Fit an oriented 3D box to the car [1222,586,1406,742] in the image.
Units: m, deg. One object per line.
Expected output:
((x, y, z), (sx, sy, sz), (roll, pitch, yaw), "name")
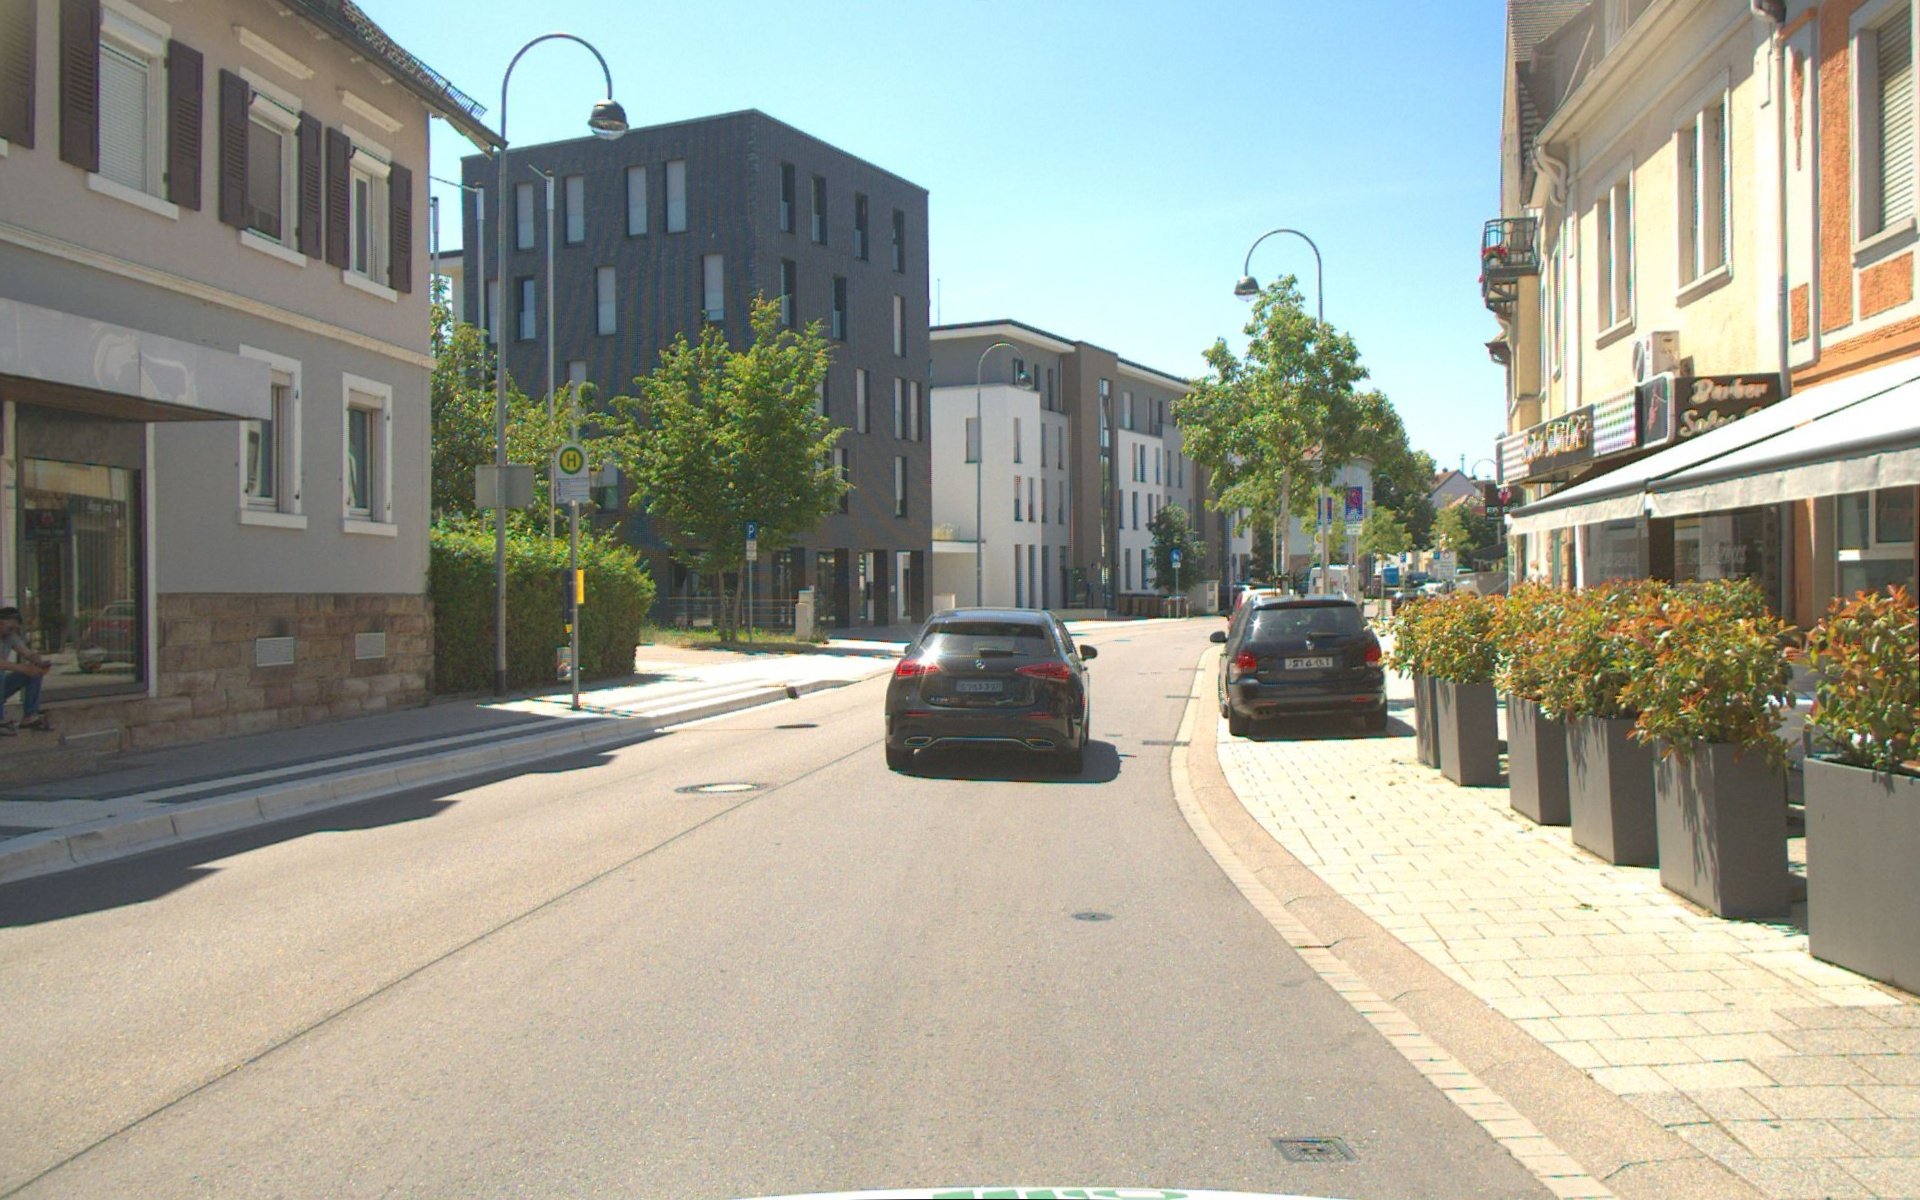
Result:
((3.926, 0.651, 18.868), (1.713, 1.512, 4.003), (-3, 0, 8), "car")

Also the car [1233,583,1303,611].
((19.274, -0.199, 103.559), (3.910, 1.691, 1.997), (0, 0, 28), "car")

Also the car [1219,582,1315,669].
((5.941, 0.461, 32.296), (1.571, 1.557, 3.494), (-2, 0, 7), "car")

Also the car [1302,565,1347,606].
((18.927, -0.760, 85.831), (1.951, 2.049, 4.002), (0, 0, 17), "car")

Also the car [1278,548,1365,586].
((25.569, -2.283, 116.937), (5.535, 2.624, 2.511), (0, 0, 29), "car")

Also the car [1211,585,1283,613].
((17.552, -0.075, 101.228), (3.910, 1.691, 1.997), (0, 0, 28), "car")

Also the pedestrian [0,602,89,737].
((-7.653, 0.555, 13.536), (0.656, 1.073, 0.700), (0, 0, 3), "pedestrian")

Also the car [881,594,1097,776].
((0.422, 0.699, 16.111), (1.725, 1.483, 4.441), (1, 0, 6), "car")

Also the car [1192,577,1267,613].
((15.731, -0.277, 96.611), (3.911, 2.049, 1.997), (0, 0, 29), "car")
